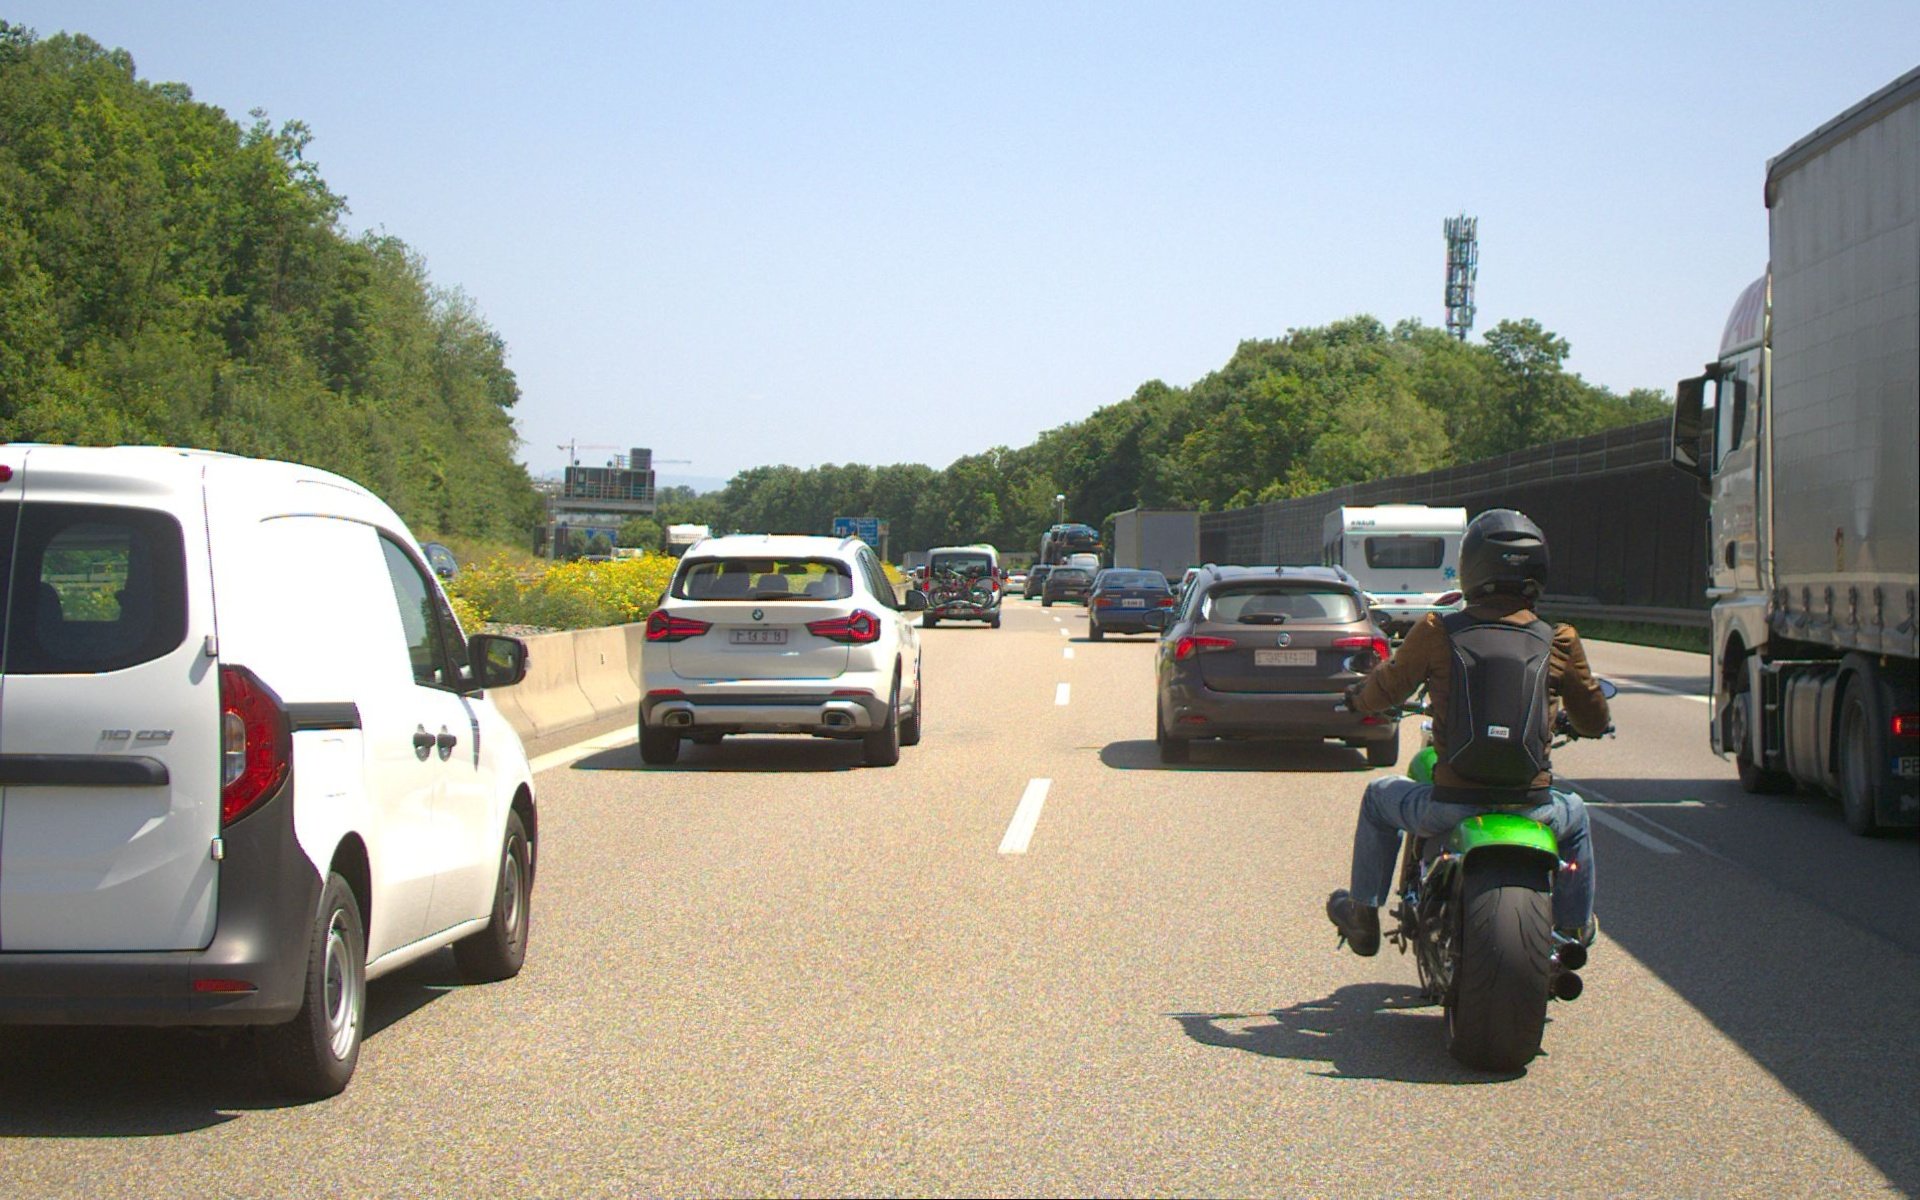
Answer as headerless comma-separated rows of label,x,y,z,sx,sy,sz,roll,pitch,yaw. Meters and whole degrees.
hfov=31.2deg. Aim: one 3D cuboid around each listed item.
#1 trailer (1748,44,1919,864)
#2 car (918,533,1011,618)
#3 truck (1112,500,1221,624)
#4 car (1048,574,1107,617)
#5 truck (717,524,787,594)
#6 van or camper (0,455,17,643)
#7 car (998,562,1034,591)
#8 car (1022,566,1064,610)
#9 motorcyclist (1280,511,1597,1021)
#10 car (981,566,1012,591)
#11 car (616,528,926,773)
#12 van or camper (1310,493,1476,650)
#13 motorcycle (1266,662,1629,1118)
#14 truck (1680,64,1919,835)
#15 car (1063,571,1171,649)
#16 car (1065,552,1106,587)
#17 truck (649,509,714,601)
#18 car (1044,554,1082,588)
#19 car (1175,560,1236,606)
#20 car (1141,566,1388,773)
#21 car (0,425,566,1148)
trailer,6.023,-0.688,14.492,2.886,4.025,13.793,1,1,3
car,0.132,-0.532,78.740,1.899,1.867,4.412,1,0,3
truck,8.570,-1.499,143.595,3.802,4.943,8.951,1,0,-1
car,4.598,-0.176,134.724,1.993,1.634,4.000,1,0,-2
truck,-6.820,-1.358,113.219,1.837,2.218,6.196,1,1,1
van or camper,-14.902,-0.719,46.988,2.085,2.692,6.152,1,1,2
car,3.029,-1.247,186.308,1.832,1.491,3.743,1,0,-1
car,3.957,-0.558,164.095,1.911,2.007,3.691,1,0,0
motorcyclist,1.561,0.488,10.967,0.900,1.470,1.871,1,-1,10
car,2.303,-1.345,216.214,1.832,1.491,3.743,1,0,-1
car,-1.347,0.331,26.467,1.864,1.688,4.955,1,0,3
van or camper,8.190,-0.489,65.686,2.685,2.803,6.802,1,0,4
motorcycle,1.586,0.819,10.868,0.965,1.144,2.810,1,1,10
truck,6.421,-0.818,21.342,2.886,4.132,5.985,1,1,3
car,3.034,0.197,66.148,1.994,1.425,3.847,1,0,3
car,7.018,-1.696,192.707,2.108,1.870,4.000,1,0,0
truck,-16.841,-2.668,208.374,3.480,5.258,10.018,1,-1,-3
car,5.934,-1.673,197.973,2.108,1.870,4.000,1,0,1
car,8.813,-0.599,123.638,1.993,1.569,4.000,1,0,2
car,2.263,0.506,26.340,1.662,1.448,3.869,1,0,2
car,-2.504,0.442,10.993,1.765,1.806,4.674,1,0,2
